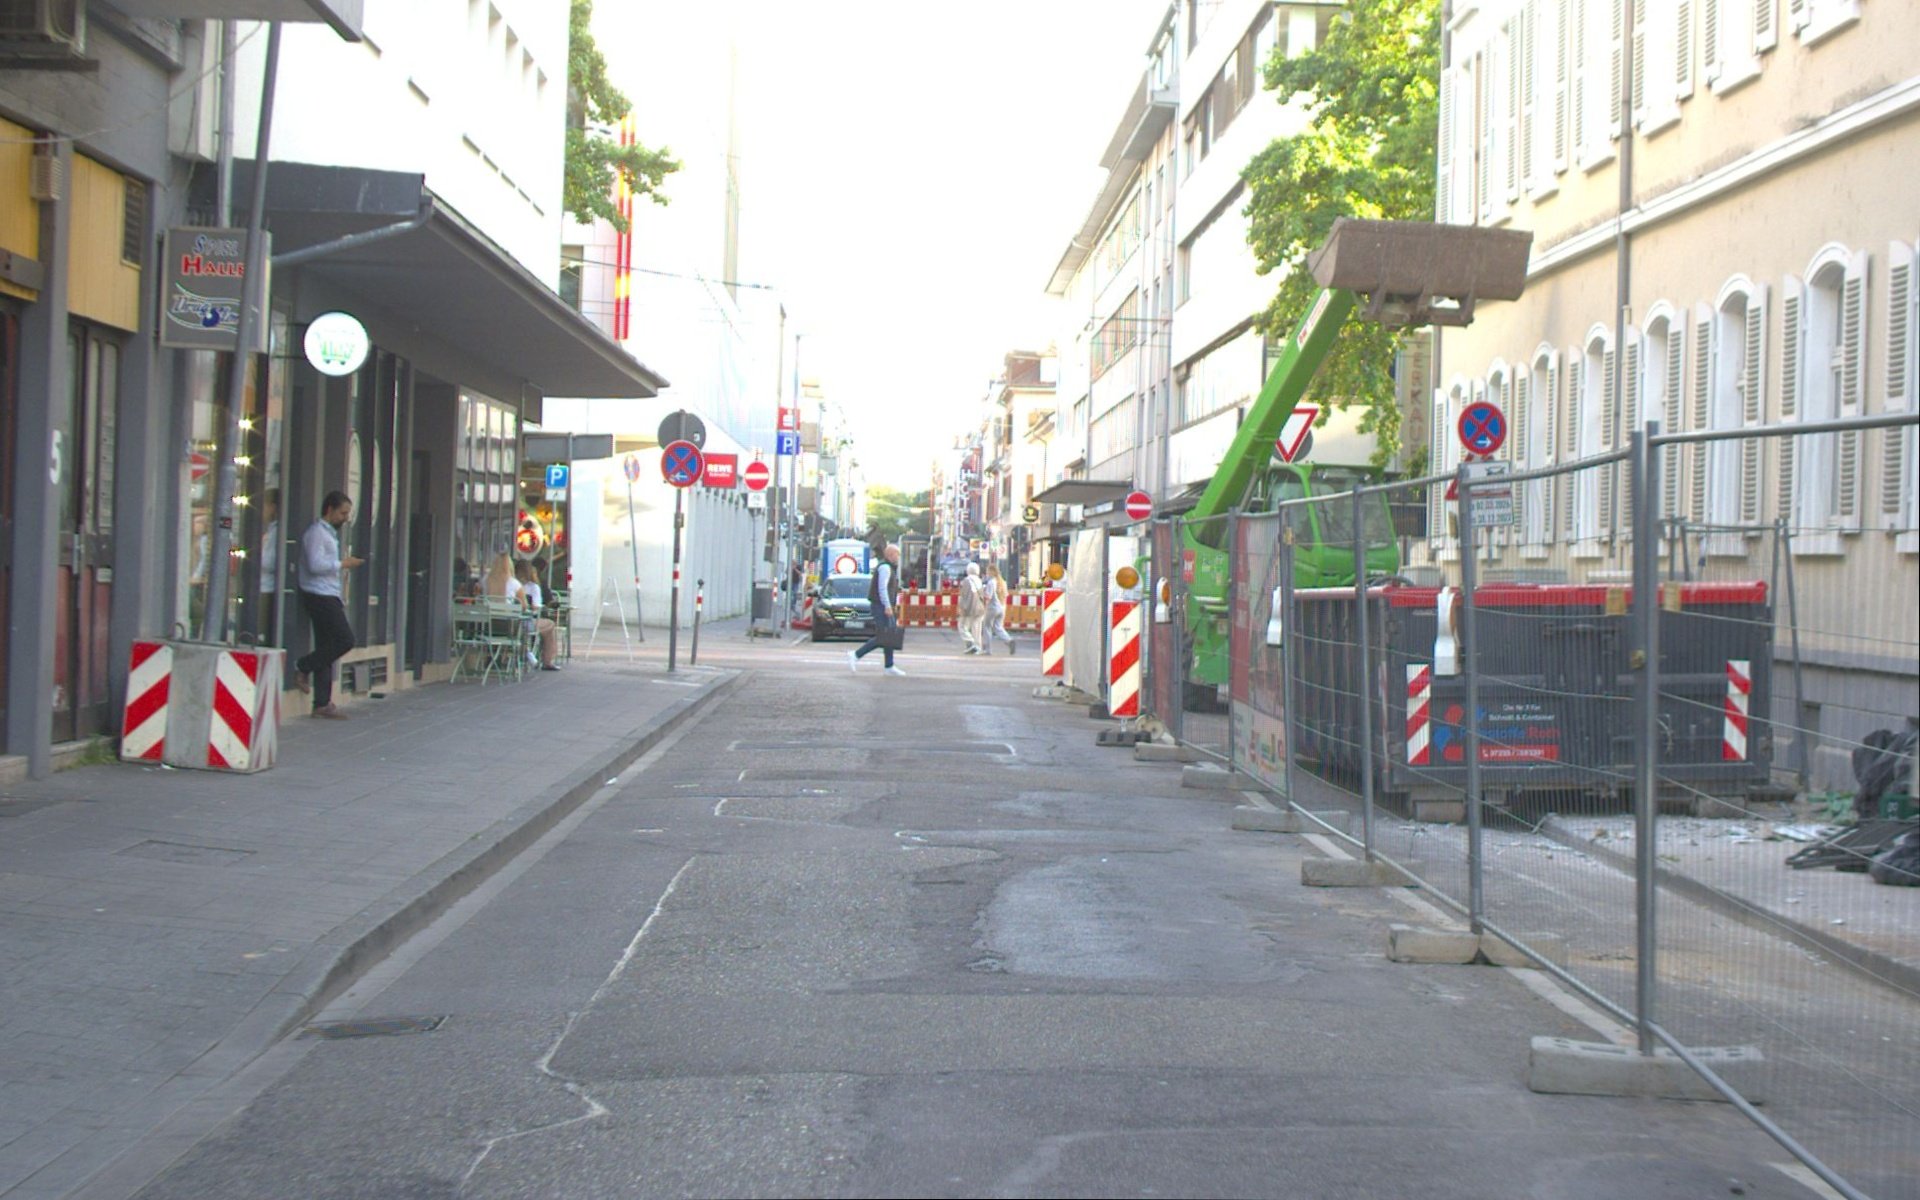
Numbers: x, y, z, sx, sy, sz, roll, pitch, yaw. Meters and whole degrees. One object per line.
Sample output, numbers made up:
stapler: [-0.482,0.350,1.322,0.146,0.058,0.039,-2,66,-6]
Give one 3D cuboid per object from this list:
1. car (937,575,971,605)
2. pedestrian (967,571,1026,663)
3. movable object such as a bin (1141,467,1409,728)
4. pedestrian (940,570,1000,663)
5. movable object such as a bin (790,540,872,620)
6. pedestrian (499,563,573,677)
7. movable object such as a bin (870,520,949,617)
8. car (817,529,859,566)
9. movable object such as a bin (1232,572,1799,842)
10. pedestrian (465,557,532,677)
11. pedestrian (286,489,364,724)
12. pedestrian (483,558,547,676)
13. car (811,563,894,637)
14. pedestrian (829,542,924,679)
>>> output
car: [-0.368,-0.620,212.983,1.993,1.770,4.000,1,0,-1]
pedestrian: [0.653,0.295,61.541,0.610,1.622,0.872,0,0,-41]
movable object such as a bin: [3.577,-0.043,39.957,2.605,2.829,4.450,1,0,-1]
pedestrian: [0.178,0.292,61.110,0.610,1.622,0.872,0,0,-41]
movable object such as a bin: [-3.308,-0.527,88.821,1.993,2.007,4.000,1,0,-1]
pedestrian: [-4.888,0.224,39.660,0.702,1.271,0.713,3,0,-1]
movable object such as a bin: [-1.467,-0.907,99.153,2.156,2.654,4.573,2,0,-1]
car: [-5.971,-2.582,168.694,1.993,1.770,4.000,1,0,-1]
movable object such as a bin: [3.880,0.659,25.908,2.735,1.633,7.553,2,0,-2]
pedestrian: [-5.045,0.182,37.601,0.573,1.271,0.713,3,0,-1]
pedestrian: [-5.021,0.047,27.198,0.530,1.828,0.563,1,1,-7]
pedestrian: [-5.001,0.185,38.658,0.573,1.271,0.713,4,0,-1]
car: [-2.329,-0.016,73.770,1.629,1.545,3.143,1,1,-4]
pedestrian: [-1.127,0.137,46.346,1.071,1.829,0.698,1,0,-22]
